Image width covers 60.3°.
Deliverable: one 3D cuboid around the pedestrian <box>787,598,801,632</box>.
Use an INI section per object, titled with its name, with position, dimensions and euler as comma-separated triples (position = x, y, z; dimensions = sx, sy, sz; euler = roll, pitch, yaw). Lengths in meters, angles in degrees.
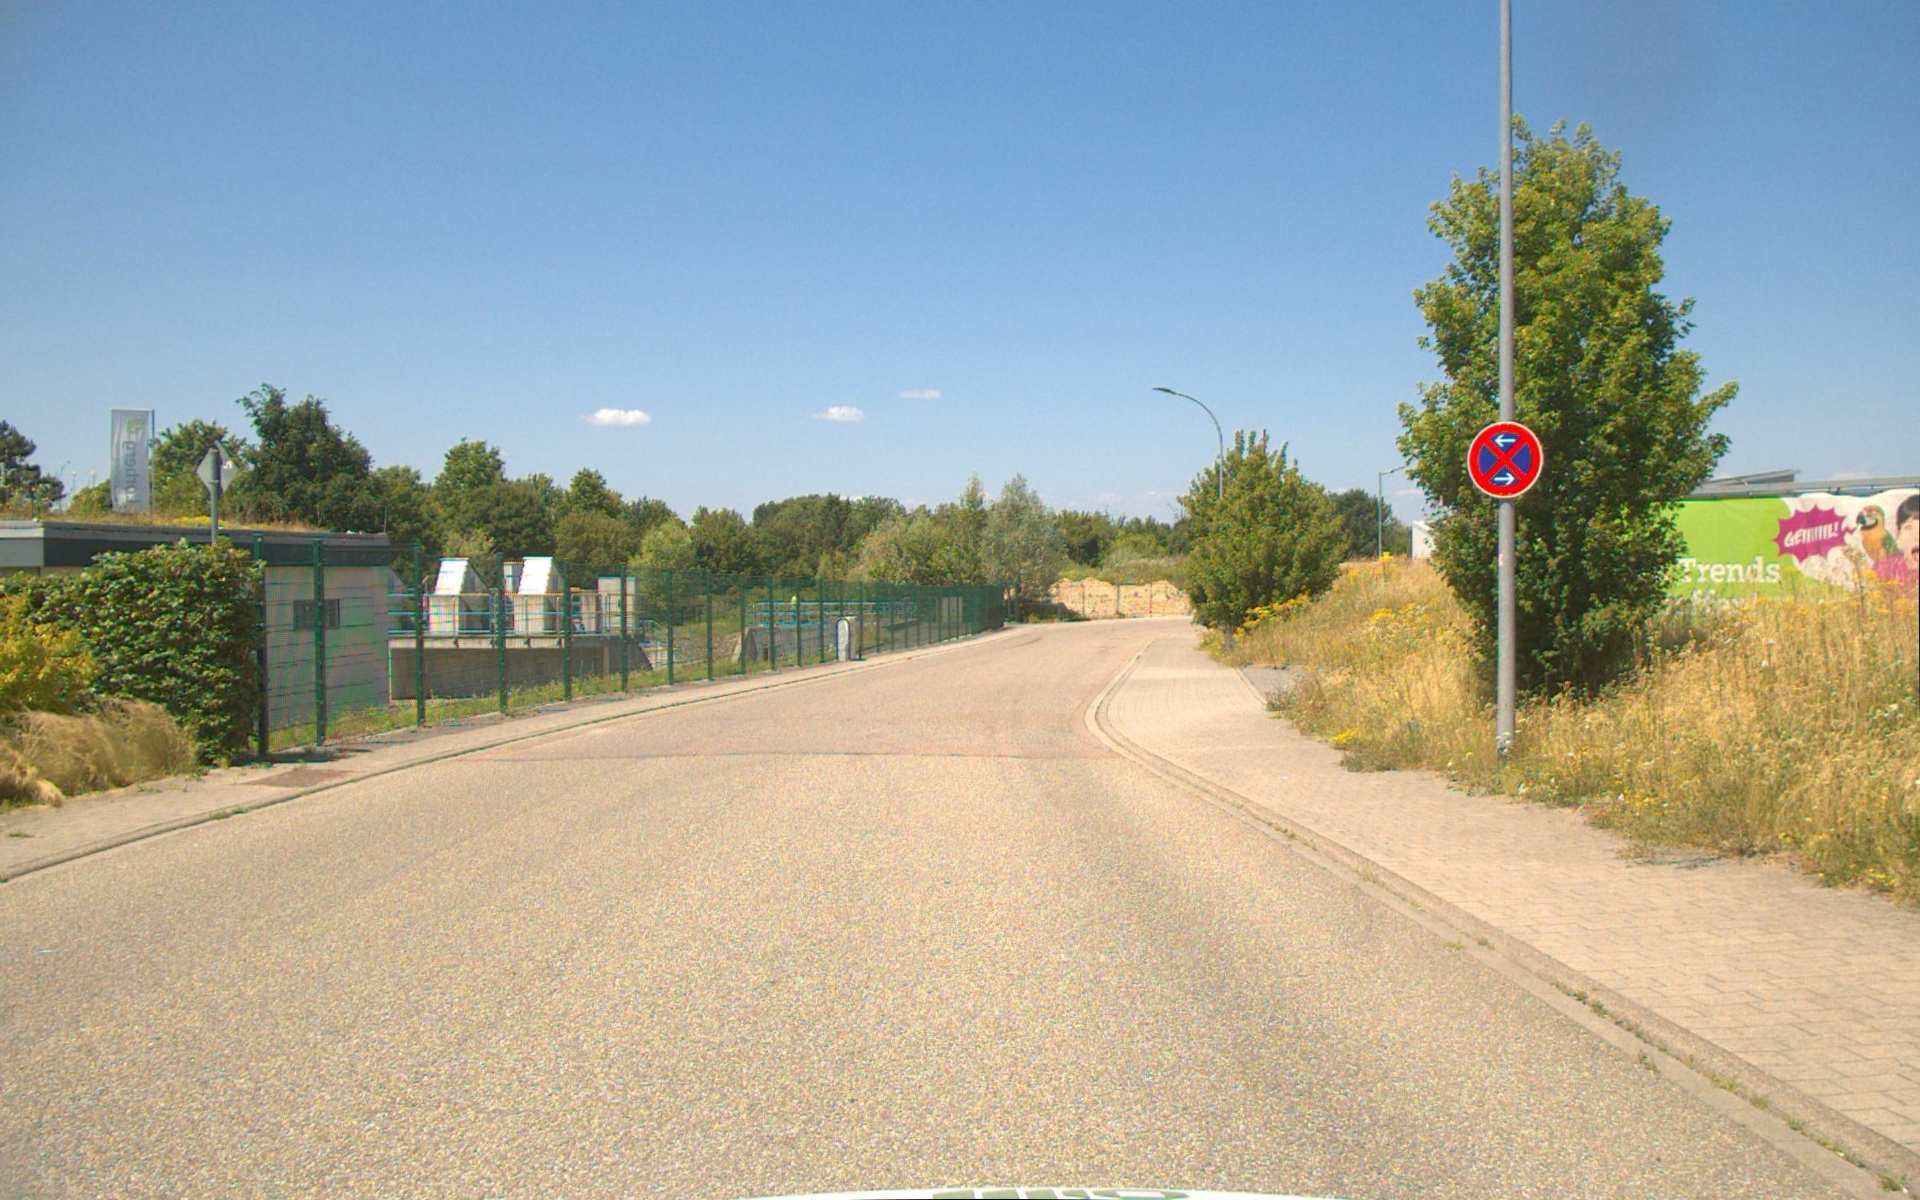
[pedestrian]
position = -9.277, 0.820, 92.401
dimensions = 0.593, 1.871, 0.805
euler = -1, 0, 6
